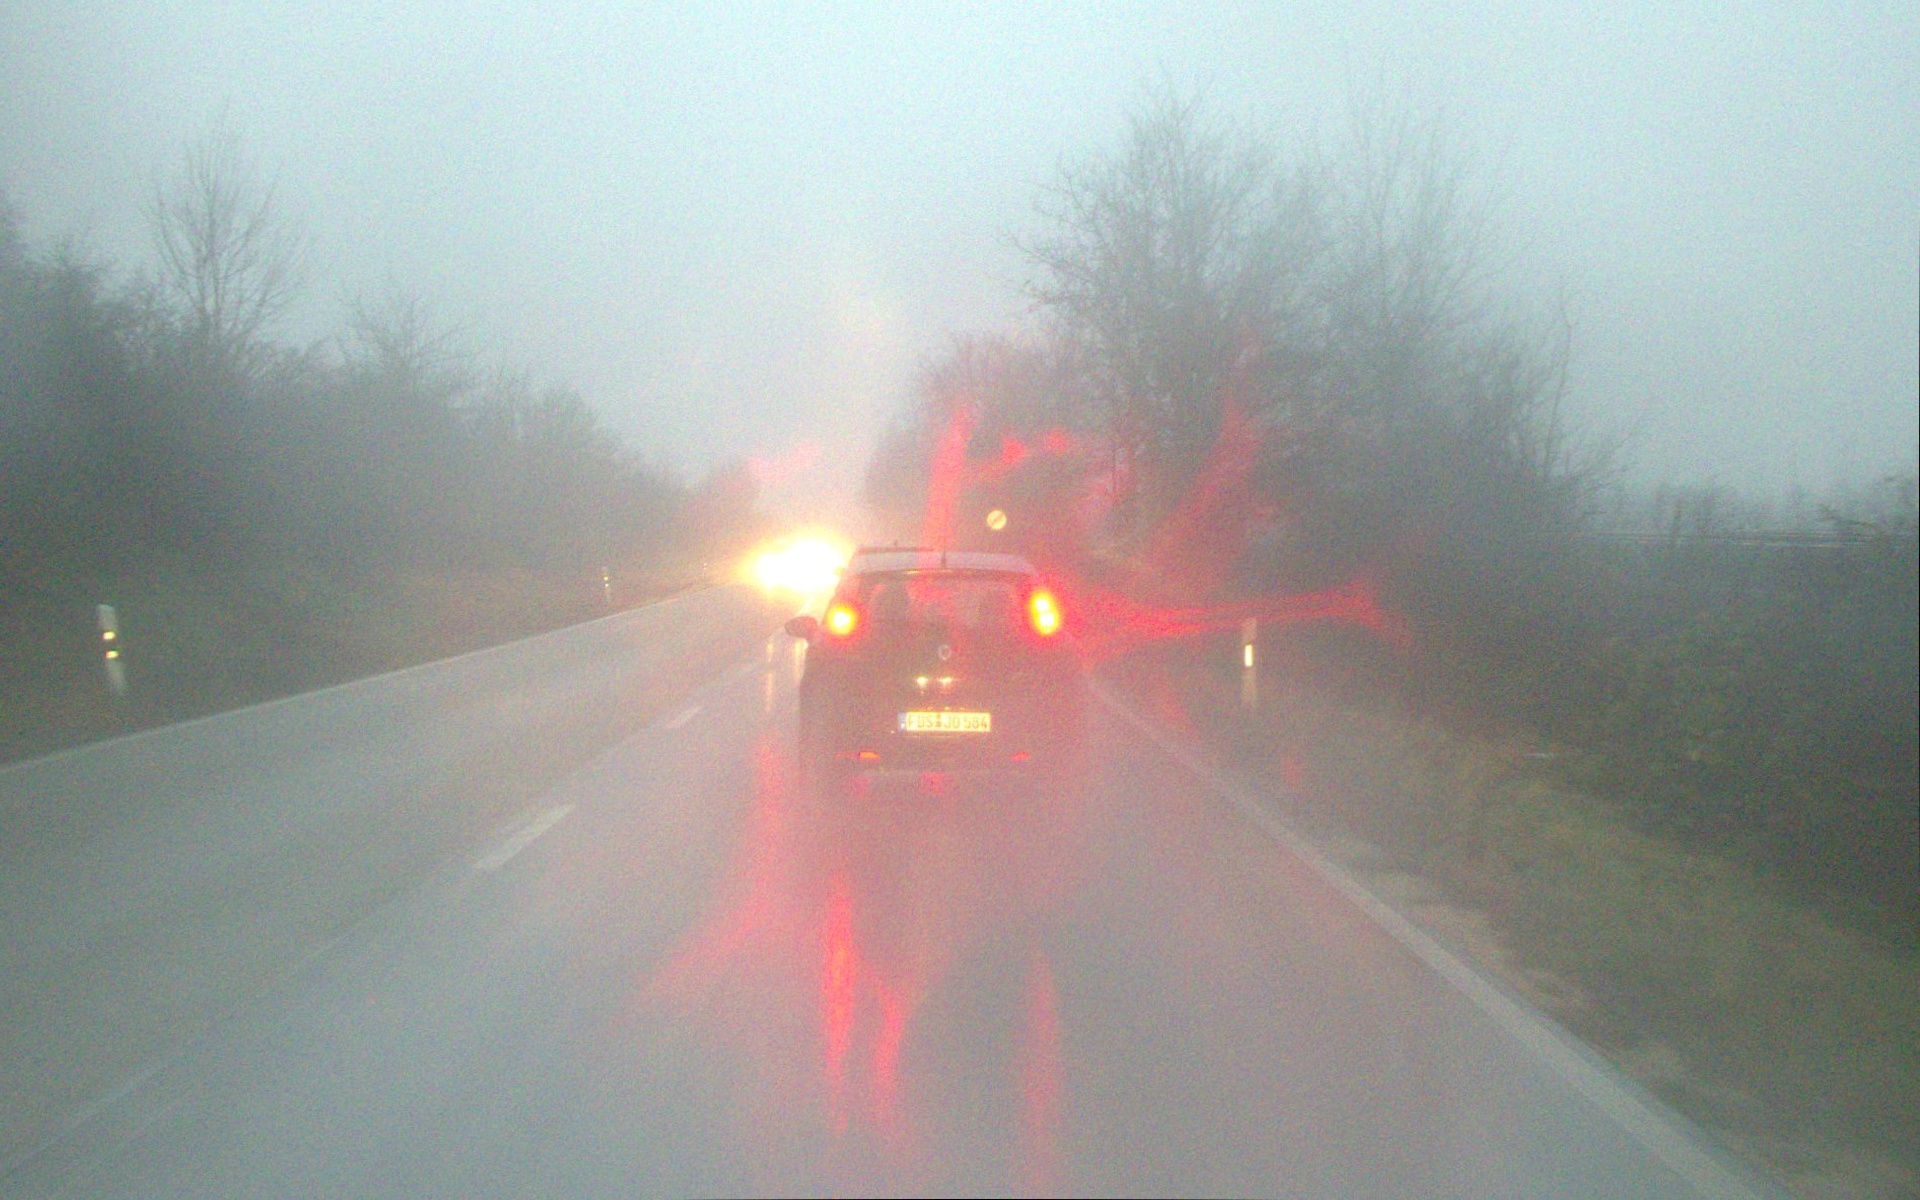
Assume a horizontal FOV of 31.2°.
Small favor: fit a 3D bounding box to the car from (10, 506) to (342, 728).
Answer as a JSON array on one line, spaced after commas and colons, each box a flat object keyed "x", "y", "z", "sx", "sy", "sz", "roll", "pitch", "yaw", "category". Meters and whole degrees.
[{"x": -6.763, "y": 0.118, "z": 30.085, "sx": 1.993, "sy": 1.778, "sz": 4.000, "roll": 1, "pitch": 1, "yaw": 0, "category": "car"}]

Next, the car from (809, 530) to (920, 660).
[{"x": -1.419, "y": -0.098, "z": 52.127, "sx": 1.574, "sy": 1.868, "sz": 3.709, "roll": 1, "pitch": 1, "yaw": 0, "category": "car"}]

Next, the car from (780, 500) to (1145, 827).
[{"x": -0.002, "y": 0.328, "z": 21.074, "sx": 1.993, "sy": 1.778, "sz": 4.000, "roll": 1, "pitch": 1, "yaw": 0, "category": "car"}]
